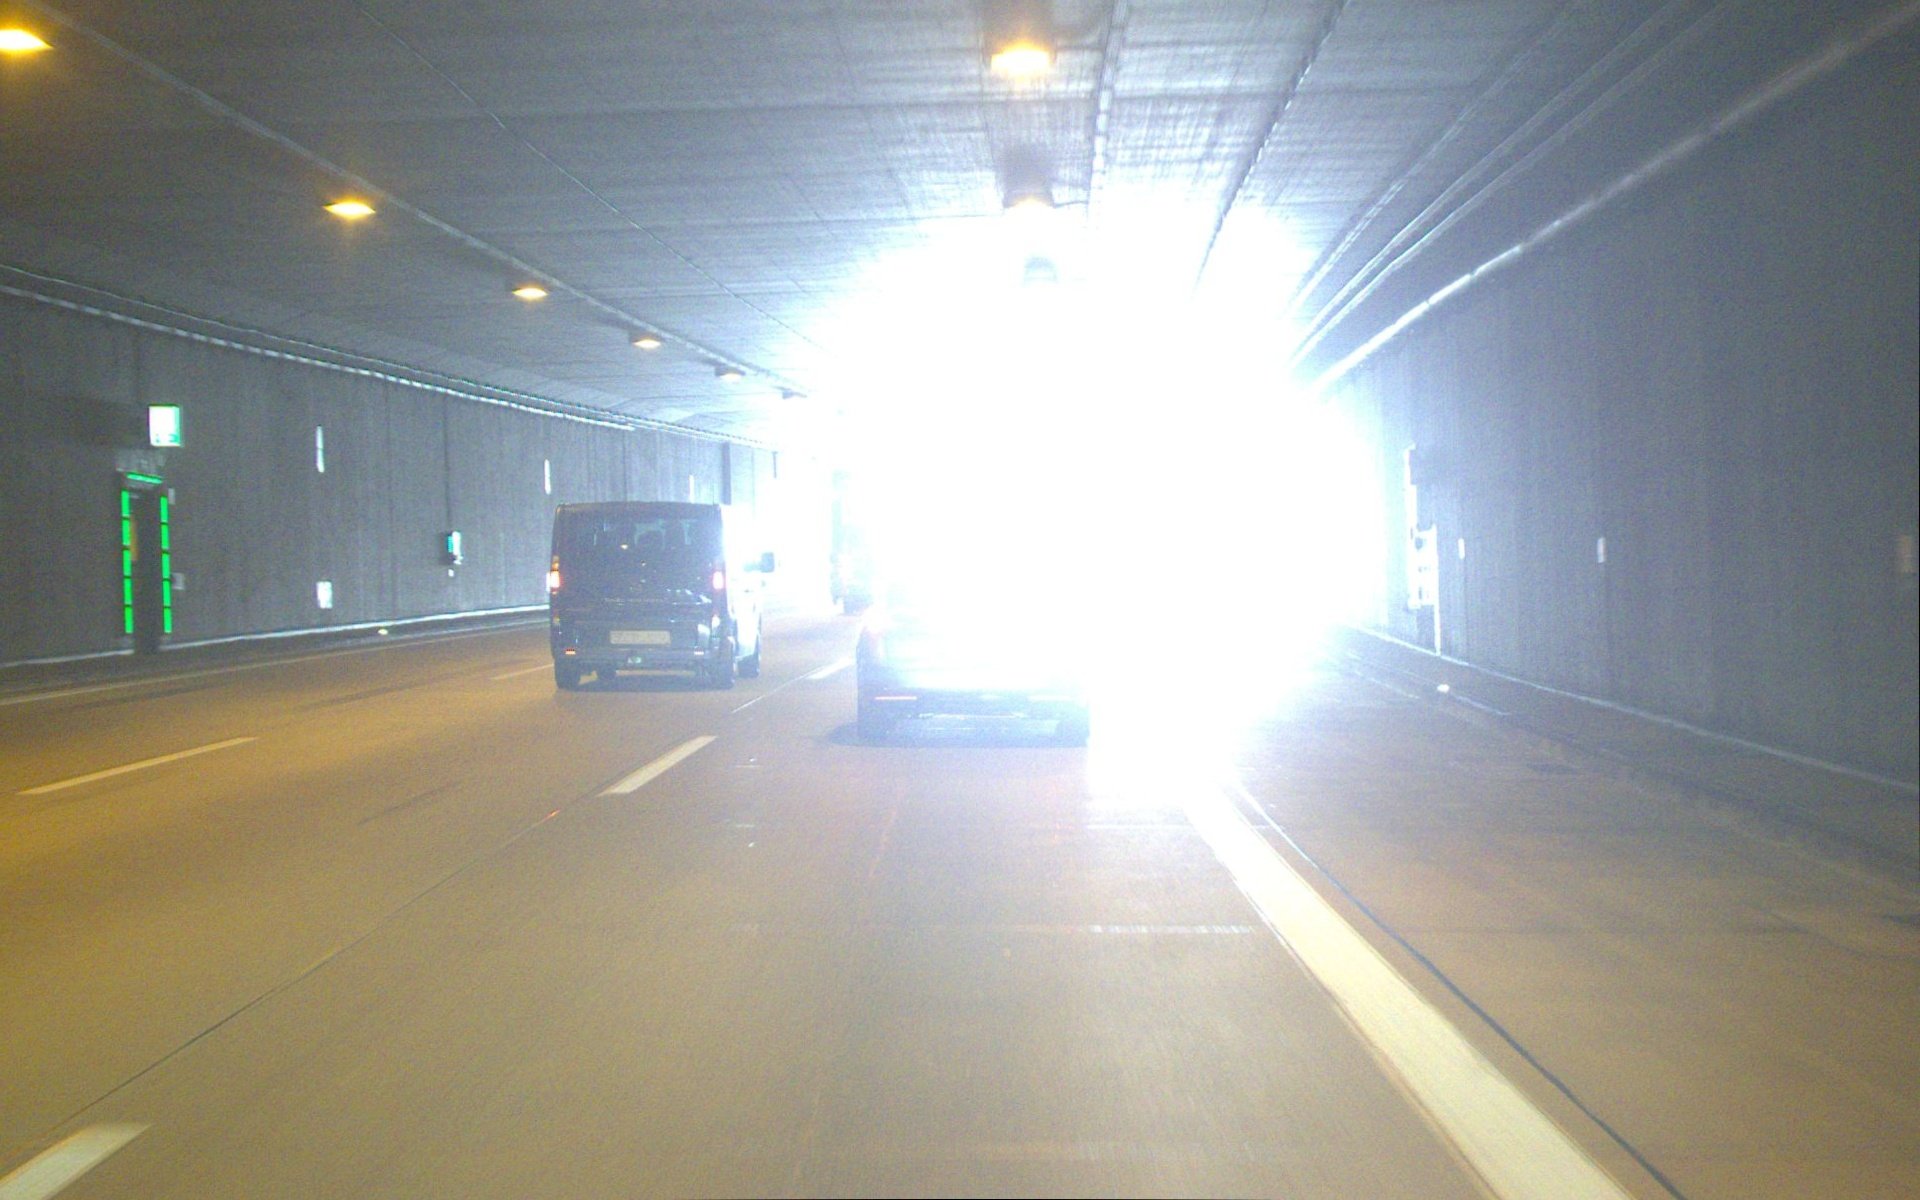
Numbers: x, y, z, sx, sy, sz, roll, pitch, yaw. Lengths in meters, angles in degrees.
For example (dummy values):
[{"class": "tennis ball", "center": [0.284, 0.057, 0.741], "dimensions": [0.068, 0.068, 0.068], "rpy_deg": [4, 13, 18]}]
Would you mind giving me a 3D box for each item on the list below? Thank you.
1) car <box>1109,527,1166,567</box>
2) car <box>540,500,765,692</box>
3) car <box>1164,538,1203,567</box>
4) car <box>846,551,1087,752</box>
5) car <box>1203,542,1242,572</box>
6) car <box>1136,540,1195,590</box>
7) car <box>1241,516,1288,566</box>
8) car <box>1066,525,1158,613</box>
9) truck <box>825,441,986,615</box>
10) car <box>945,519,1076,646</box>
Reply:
[{"class": "car", "center": [7.783, -2.306, 150.826], "dimensions": [1.994, 1.626, 3.998], "rpy_deg": [0, -1, 10]}, {"class": "car", "center": [-3.228, -0.075, 36.769], "dimensions": [1.910, 1.938, 3.871], "rpy_deg": [0, 1, 2]}, {"class": "car", "center": [13.859, -2.954, 212.962], "dimensions": [1.931, 1.637, 3.998], "rpy_deg": [0, -2, 11]}, {"class": "car", "center": [0.117, 0.349, 27.111], "dimensions": [1.742, 1.459, 3.871], "rpy_deg": [0, 1, 2]}, {"class": "car", "center": [15.543, -2.529, 203.137], "dimensions": [1.994, 1.626, 3.998], "rpy_deg": [0, -1, 9]}, {"class": "car", "center": [7.334, -1.226, 122.513], "dimensions": [1.931, 1.637, 3.999], "rpy_deg": [0, -2, 6]}, {"class": "car", "center": [13.513, -2.599, 152.418], "dimensions": [1.994, 2.007, 3.999], "rpy_deg": [0, -2, 7]}, {"class": "car", "center": [3.276, -0.651, 74.575], "dimensions": [1.950, 1.766, 3.999], "rpy_deg": [0, -2, 2]}, {"class": "truck", "center": [-1.130, -1.576, 76.531], "dimensions": [3.039, 3.661, 7.392], "rpy_deg": [0, 1, 3]}, {"class": "car", "center": [0.805, -0.282, 52.493], "dimensions": [1.857, 1.848, 4.000], "rpy_deg": [0, 1, 3]}]
